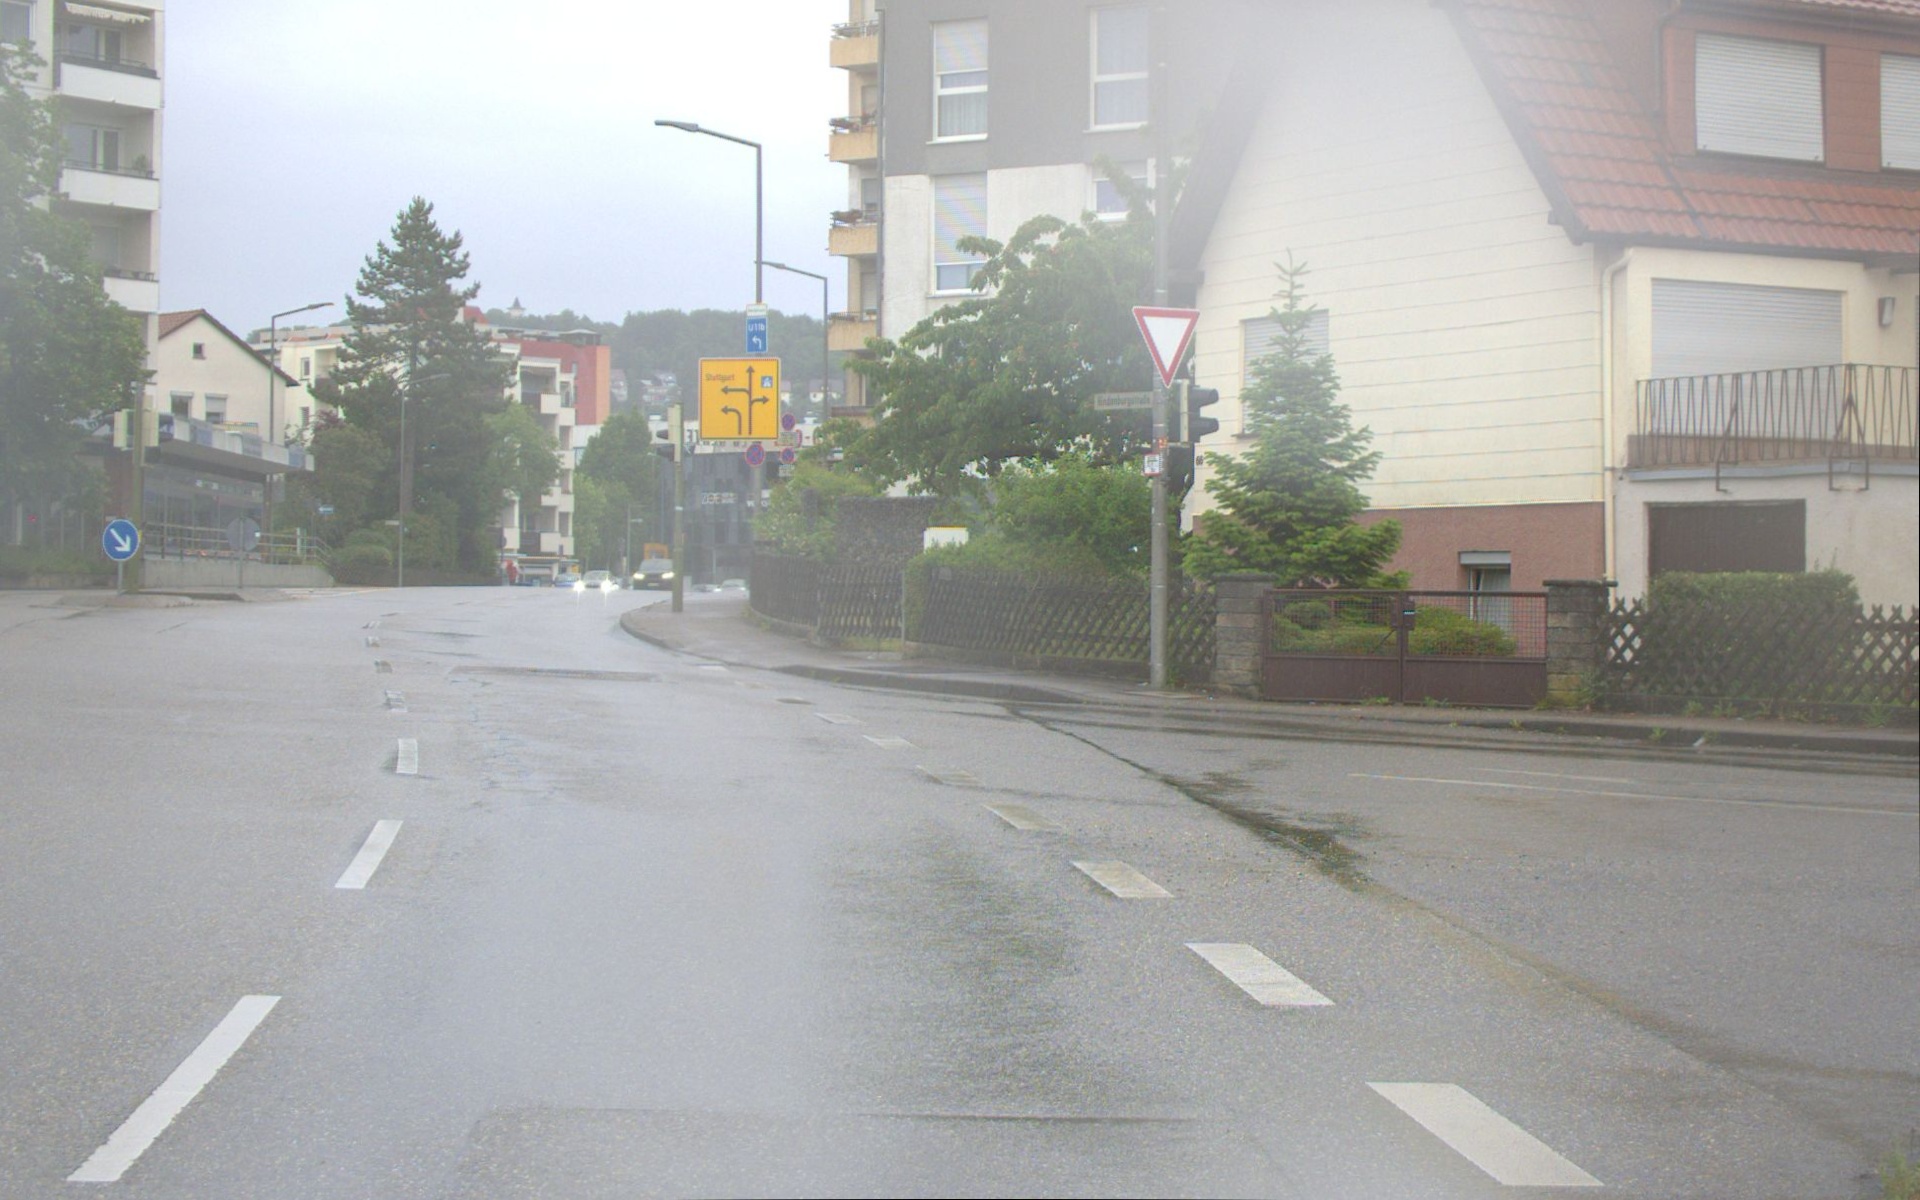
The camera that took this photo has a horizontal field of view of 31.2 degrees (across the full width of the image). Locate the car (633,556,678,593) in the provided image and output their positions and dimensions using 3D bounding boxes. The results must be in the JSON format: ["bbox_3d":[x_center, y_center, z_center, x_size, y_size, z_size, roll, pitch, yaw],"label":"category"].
[{"bbox_3d":[-14.753,-1.257,166.557,1.993,1.731,5.182,1,1,-7],"label":"car"}]
